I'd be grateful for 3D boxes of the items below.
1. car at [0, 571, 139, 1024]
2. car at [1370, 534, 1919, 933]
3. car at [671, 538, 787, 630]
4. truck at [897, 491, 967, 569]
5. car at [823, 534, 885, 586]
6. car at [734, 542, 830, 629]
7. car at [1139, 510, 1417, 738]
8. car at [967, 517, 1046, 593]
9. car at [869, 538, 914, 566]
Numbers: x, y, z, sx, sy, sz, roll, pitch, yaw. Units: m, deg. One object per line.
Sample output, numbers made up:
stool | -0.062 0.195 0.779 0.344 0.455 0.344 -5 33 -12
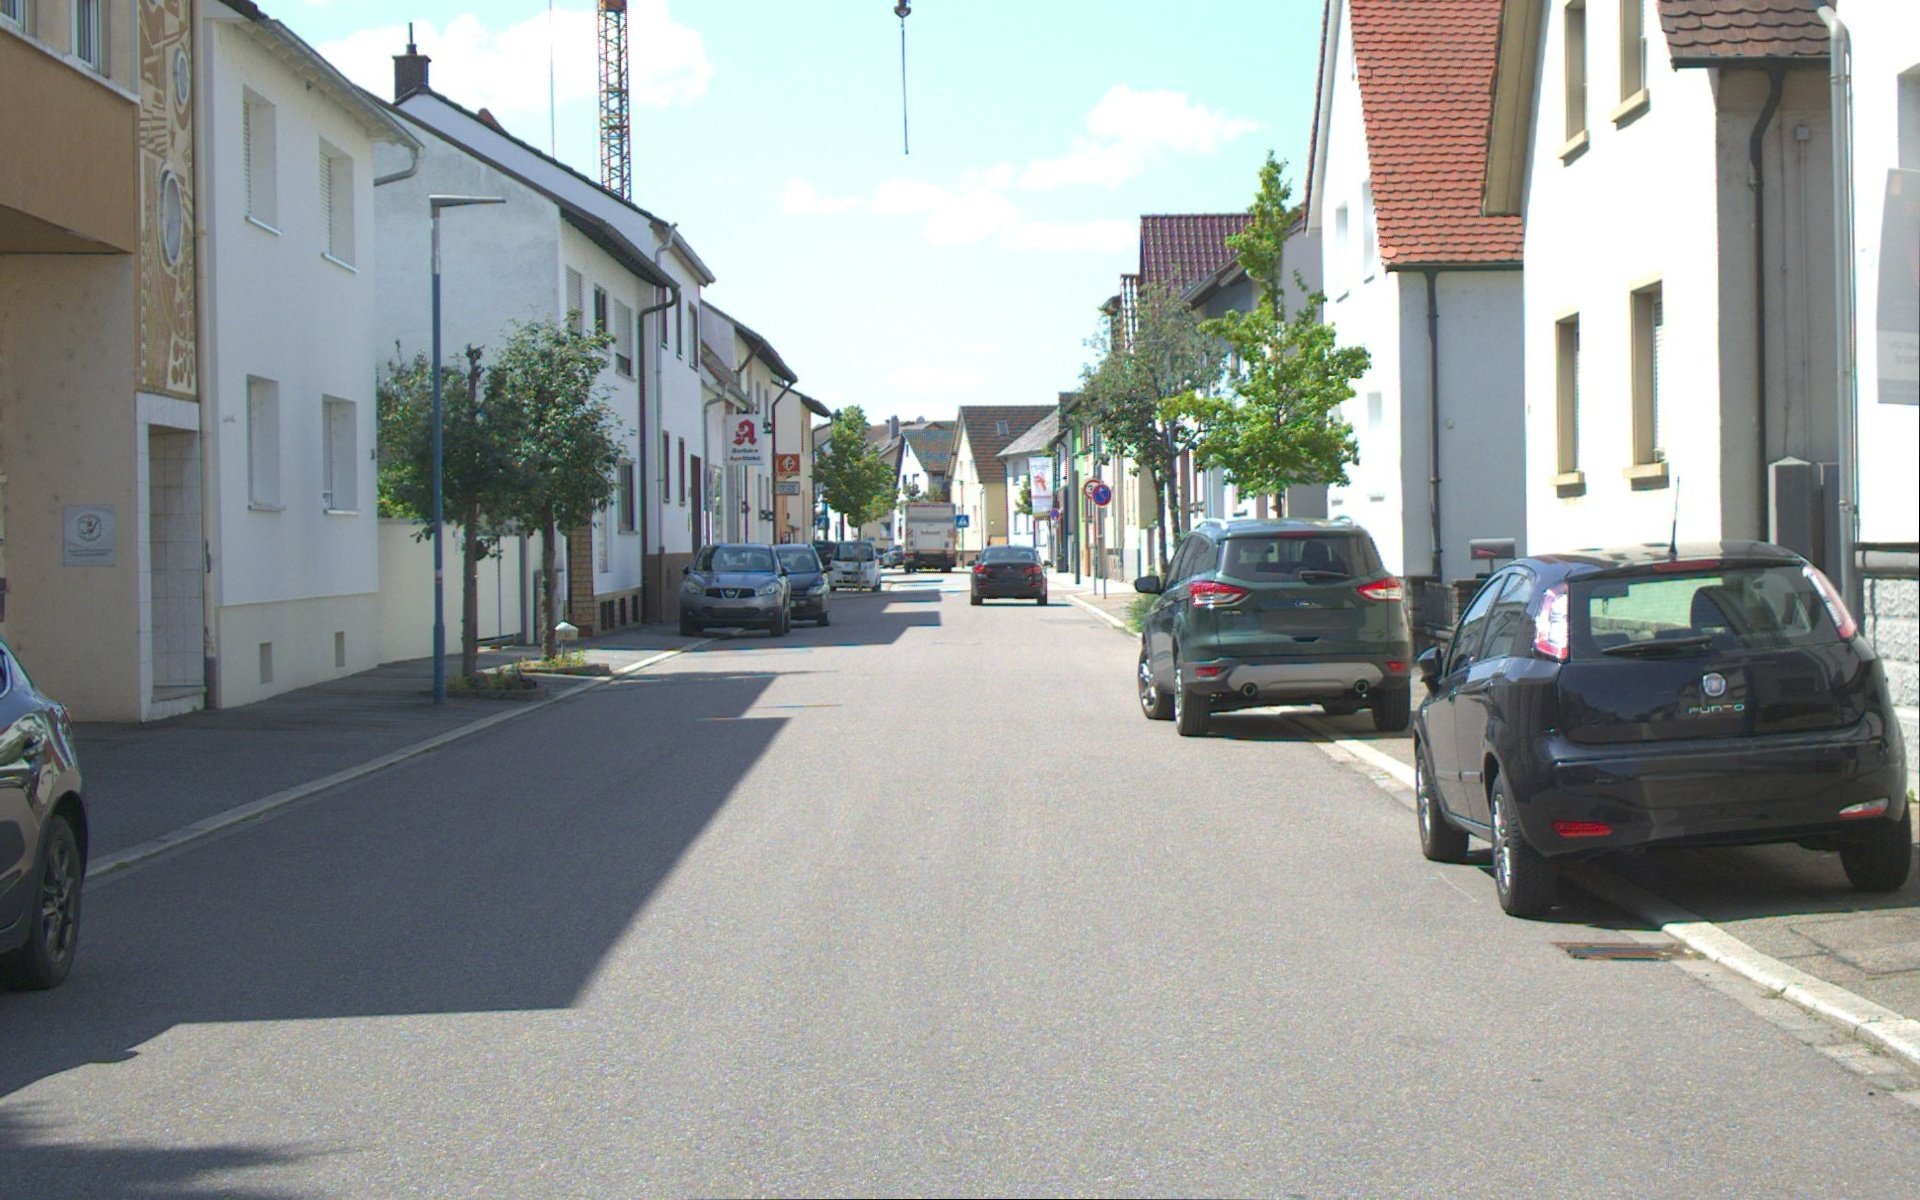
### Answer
car | -4.024 0.667 10.657 1.768 1.455 4.436 0 1 2
car | 2.949 0.491 15.604 1.617 1.490 3.972 -3 1 0
car | -4.004 -0.306 60.221 1.758 1.519 4.289 -1 1 0
truck | -1.558 -3.619 180.970 3.378 3.852 13.927 -1 1 -1
car | -3.260 -1.246 106.219 1.723 1.550 4.172 1 1 1
car | -3.425 -0.313 66.715 1.653 1.603 4.061 -1 1 0
car | 2.525 0.139 28.214 1.728 1.711 4.276 -1 1 -2
car | 1.108 -1.094 83.681 1.782 1.747 4.000 -1 1 -1
car | -4.441 -3.094 222.603 1.820 1.747 4.230 -2 1 -16
